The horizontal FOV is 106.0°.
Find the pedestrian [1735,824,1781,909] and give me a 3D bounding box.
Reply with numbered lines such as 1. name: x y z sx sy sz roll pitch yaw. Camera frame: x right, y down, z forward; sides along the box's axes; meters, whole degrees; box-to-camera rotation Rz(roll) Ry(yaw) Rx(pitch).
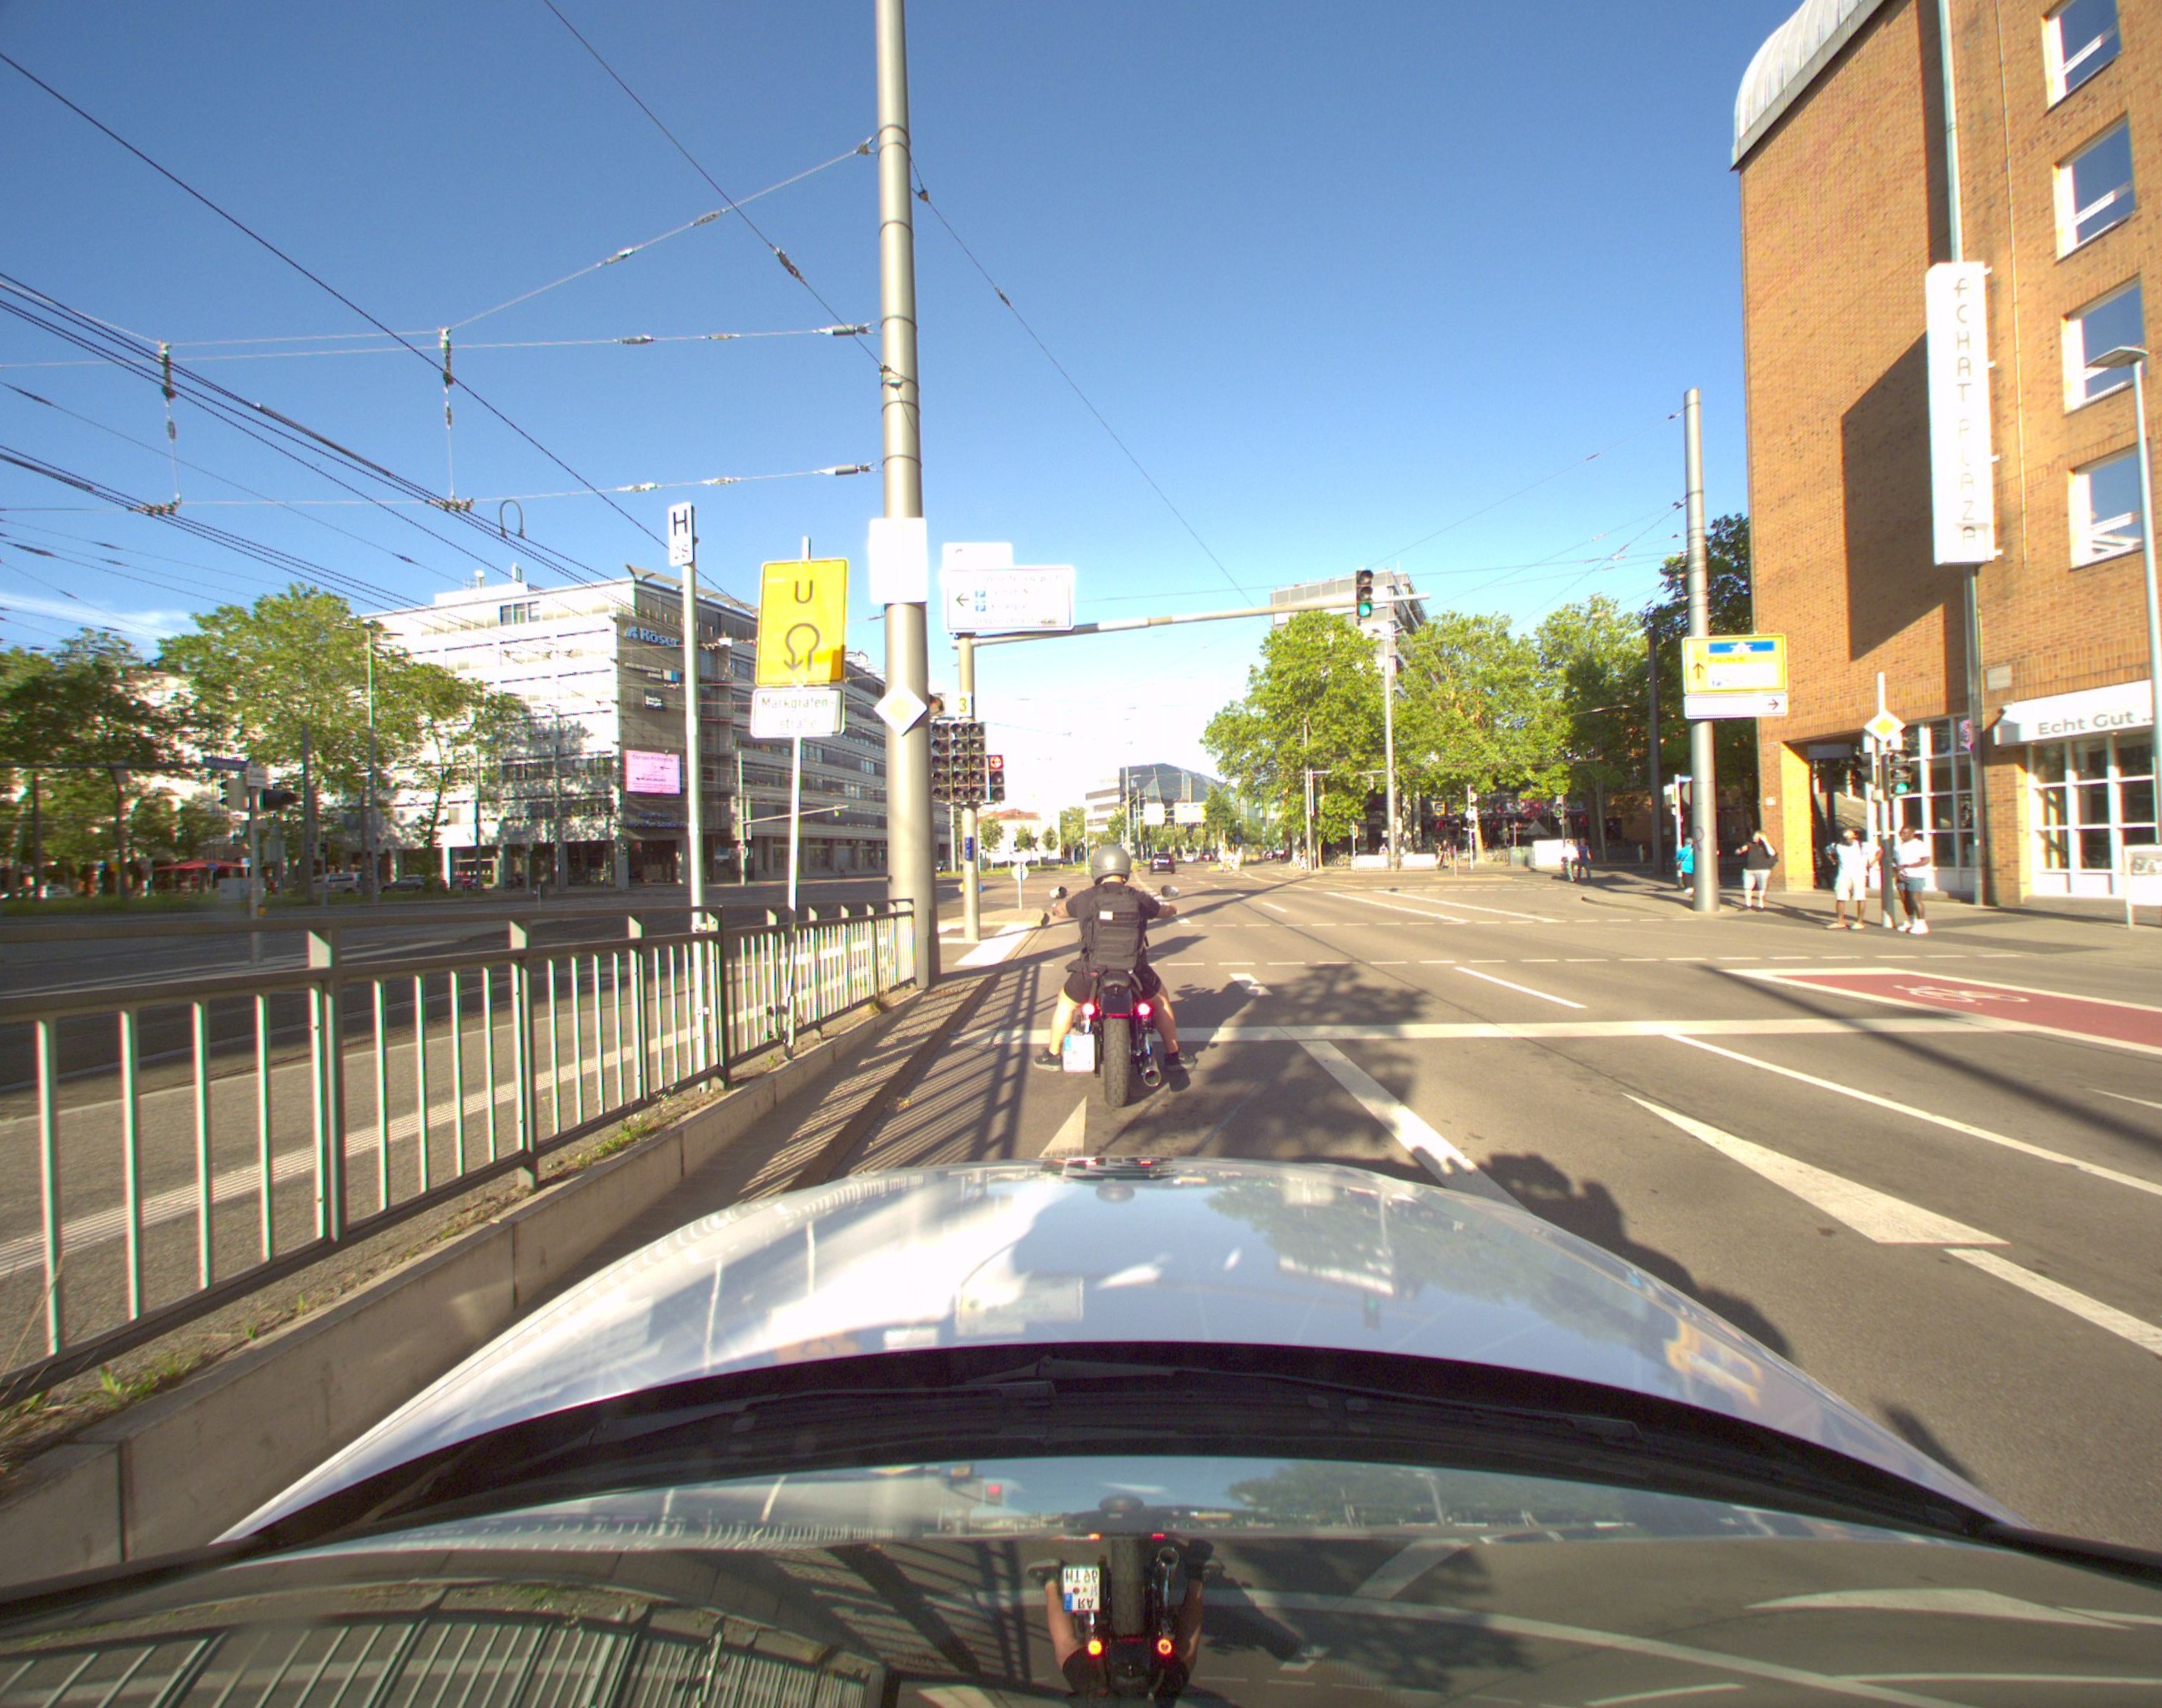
1. pedestrian: 14.551 0.270 17.503 0.727 1.792 0.515 -1 -1 42

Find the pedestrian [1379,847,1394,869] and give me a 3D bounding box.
1. pedestrian: 23.137 0.311 61.700 0.829 1.704 0.760 0 -1 2

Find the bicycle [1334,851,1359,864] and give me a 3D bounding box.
1. bicycle: 21.548 0.307 66.166 1.874 1.046 0.360 0 -1 1

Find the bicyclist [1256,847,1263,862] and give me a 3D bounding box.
1. bicyclist: 21.606 0.105 98.707 0.693 1.808 0.730 0 -1 6

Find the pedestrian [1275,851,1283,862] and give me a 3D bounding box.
1. pedestrian: 21.963 0.281 90.293 0.814 1.314 0.640 -1 -1 11

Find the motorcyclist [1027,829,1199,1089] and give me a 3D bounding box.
1. motorcyclist: 0.212 0.657 5.515 1.027 1.593 0.874 -2 0 1

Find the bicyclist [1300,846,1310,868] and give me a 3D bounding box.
1. bicyclist: 17.863 0.240 64.875 0.682 1.673 0.544 -2 -2 21

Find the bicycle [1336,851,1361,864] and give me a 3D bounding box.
1. bicycle: 21.493 0.285 65.384 1.874 1.046 0.360 0 -1 1

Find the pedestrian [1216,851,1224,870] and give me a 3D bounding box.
1. pedestrian: 11.741 0.541 68.677 0.587 1.557 0.488 0 -1 -6

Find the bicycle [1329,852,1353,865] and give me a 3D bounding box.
1. bicycle: 21.564 0.349 67.537 1.874 1.046 0.360 0 0 1

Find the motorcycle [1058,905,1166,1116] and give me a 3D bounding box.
1. motorcycle: 0.208 0.945 5.681 0.598 1.036 2.235 0 0 2

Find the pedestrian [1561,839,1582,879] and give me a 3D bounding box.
1. pedestrian: 18.842 0.197 31.305 0.561 1.533 0.706 -1 -1 20

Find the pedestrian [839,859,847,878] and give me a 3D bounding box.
1. pedestrian: -25.633 1.578 87.711 0.628 2.014 0.754 0 -1 2

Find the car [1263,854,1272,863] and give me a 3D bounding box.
1. car: 37.358 0.876 162.983 1.519 1.838 3.589 -1 -1 15

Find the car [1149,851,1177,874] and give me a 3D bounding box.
1. car: 6.144 0.630 60.806 1.793 1.595 4.464 -2 0 9

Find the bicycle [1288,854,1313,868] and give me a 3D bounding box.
1. bicycle: 17.553 0.566 64.986 1.854 1.044 0.540 -1 -1 20

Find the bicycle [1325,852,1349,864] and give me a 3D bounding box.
1. bicycle: 21.577 0.351 68.655 1.874 1.046 0.360 0 0 1

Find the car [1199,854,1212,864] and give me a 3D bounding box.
1. car: 21.935 0.936 143.230 1.790 1.678 4.055 0 -1 14

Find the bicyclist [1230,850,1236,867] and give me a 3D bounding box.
1. bicyclist: 12.504 0.393 66.997 0.380 1.373 0.344 0 -1 -7

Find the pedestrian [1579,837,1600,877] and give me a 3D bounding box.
1. pedestrian: 19.436 0.123 31.150 0.561 1.479 0.706 -1 -1 22

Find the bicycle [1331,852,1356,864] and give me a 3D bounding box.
1. bicycle: 21.584 0.330 66.980 1.874 1.046 0.360 0 -1 1

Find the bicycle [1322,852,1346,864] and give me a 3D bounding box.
1. bicycle: 21.472 0.352 69.156 1.874 1.046 0.360 0 0 1

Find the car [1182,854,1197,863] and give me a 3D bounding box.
1. car: 17.380 0.745 130.488 1.790 1.430 4.470 -2 0 14

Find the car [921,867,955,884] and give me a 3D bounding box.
1. car: -13.846 2.071 79.093 1.737 1.524 4.014 -1 -1 13

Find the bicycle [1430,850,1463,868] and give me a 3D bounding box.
1. bicycle: 25.207 0.351 56.145 2.034 1.214 0.421 0 -1 2

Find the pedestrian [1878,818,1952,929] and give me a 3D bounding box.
1. pedestrian: 13.844 0.316 13.532 0.682 1.780 0.589 -2 -1 -24

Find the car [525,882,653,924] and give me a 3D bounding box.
1. car: -13.861 1.356 23.076 2.884 1.063 1.235 0 -1 -19

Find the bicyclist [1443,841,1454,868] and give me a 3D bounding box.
1. bicyclist: 25.337 0.041 56.142 0.582 1.837 0.403 0 -1 1

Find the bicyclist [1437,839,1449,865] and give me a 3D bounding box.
1. bicyclist: 21.222 -0.090 47.740 0.561 1.519 0.636 -1 -1 17

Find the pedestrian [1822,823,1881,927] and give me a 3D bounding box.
1. pedestrian: 13.611 0.372 14.400 0.586 1.780 0.686 -3 -1 35

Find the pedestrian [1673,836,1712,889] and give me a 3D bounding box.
1. pedestrian: 17.160 0.242 22.871 0.590 1.452 0.601 -2 -1 2

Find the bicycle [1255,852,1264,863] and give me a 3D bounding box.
1. bicycle: 21.622 0.447 98.661 0.722 1.367 2.922 0 -1 6

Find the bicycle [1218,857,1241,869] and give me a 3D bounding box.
1. bicycle: 12.190 0.754 66.950 1.823 0.925 0.357 0 -1 -7

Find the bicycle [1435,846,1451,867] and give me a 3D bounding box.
1. bicycle: 21.233 0.181 47.833 0.562 1.178 2.340 -1 -1 17

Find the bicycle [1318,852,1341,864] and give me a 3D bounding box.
1. bicycle: 21.422 0.358 70.308 1.874 1.046 0.360 0 0 1

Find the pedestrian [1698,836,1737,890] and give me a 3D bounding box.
1. pedestrian: 17.949 0.253 22.983 0.590 1.476 0.552 -2 -1 2

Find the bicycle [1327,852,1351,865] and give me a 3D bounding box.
1. bicycle: 21.583 0.357 68.169 1.874 1.046 0.360 0 -1 1
